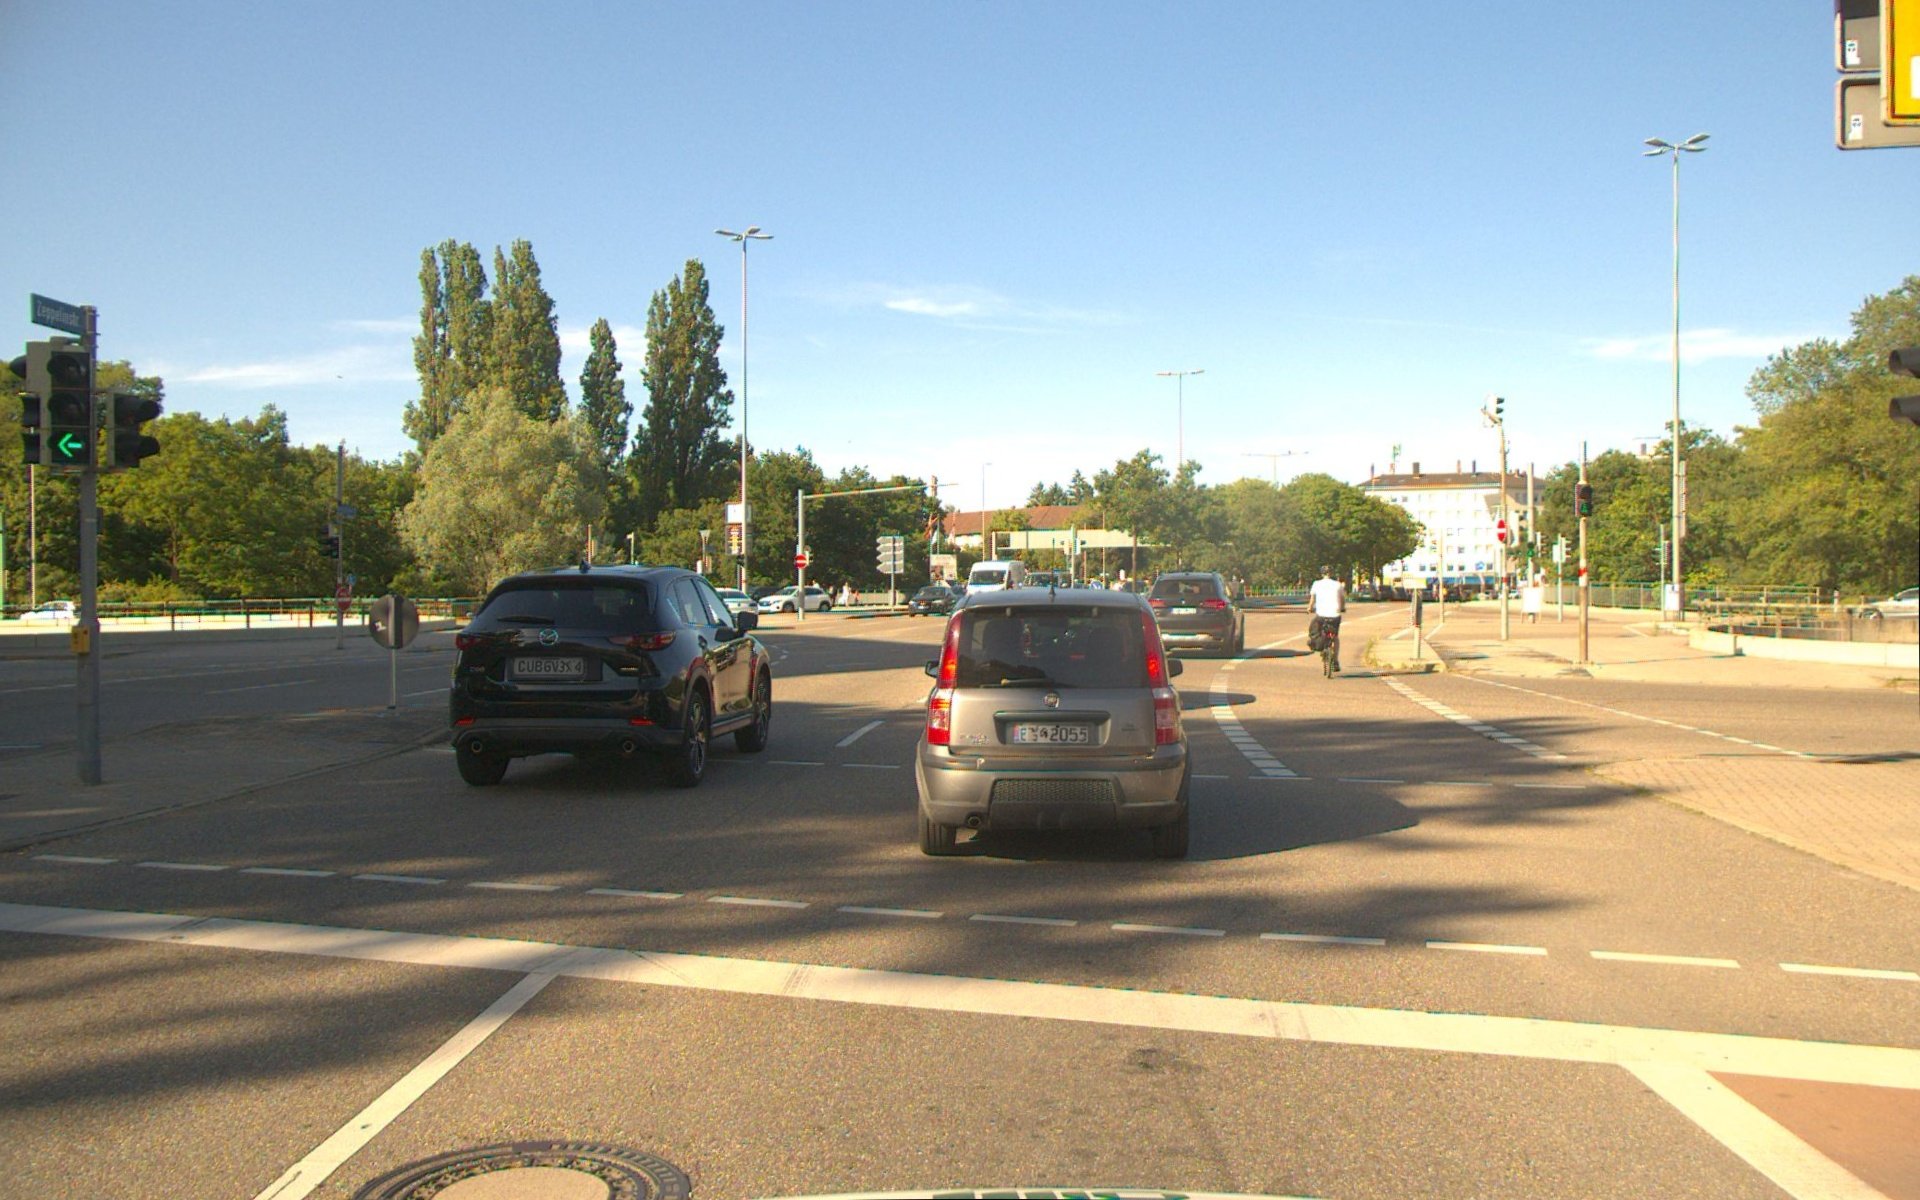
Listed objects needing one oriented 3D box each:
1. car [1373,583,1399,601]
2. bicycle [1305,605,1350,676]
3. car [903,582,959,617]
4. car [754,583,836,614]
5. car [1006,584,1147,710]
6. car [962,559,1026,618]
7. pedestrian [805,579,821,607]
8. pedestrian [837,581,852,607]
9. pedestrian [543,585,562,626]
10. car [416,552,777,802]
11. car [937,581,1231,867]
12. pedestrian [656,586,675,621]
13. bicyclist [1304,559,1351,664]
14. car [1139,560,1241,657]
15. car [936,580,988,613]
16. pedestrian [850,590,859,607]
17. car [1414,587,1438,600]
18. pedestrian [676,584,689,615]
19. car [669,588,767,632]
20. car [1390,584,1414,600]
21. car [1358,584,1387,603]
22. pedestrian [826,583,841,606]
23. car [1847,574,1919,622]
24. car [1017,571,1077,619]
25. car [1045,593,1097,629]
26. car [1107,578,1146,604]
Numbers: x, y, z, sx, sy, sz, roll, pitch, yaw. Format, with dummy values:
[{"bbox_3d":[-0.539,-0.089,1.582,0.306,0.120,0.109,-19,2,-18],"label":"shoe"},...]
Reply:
[{"bbox_3d":[39.074,-0.753,151.789,1.905,1.555,4.098,0,0,20],"label":"car"},{"bbox_3d":[6.100,0.652,27.518,0.676,1.121,1.828,1,1,11],"label":"bicycle"},{"bbox_3d":[-1.348,-0.027,78.235,1.895,1.534,4.004,-2,0,9],"label":"car"},{"bbox_3d":[-8.738,-0.093,87.764,1.752,1.562,4.305,1,2,40],"label":"car"},{"bbox_3d":[1.605,0.545,21.689,1.583,1.488,3.754,1,1,8],"label":"car"},{"bbox_3d":[1.661,-0.549,77.748,1.895,2.621,6.094,0,1,12],"label":"car"},{"bbox_3d":[-9.180,-0.427,103.470,0.773,1.693,0.629,1,-2,25],"label":"pedestrian"},{"bbox_3d":[-7.602,-0.390,108.813,0.705,1.670,0.673,1,-2,17],"label":"pedestrian"},{"bbox_3d":[-14.647,0.192,59.450,0.667,1.489,0.700,0,0,-14],"label":"pedestrian"},{"bbox_3d":[-2.774,0.524,13.643,1.835,1.739,4.198,0,0,3],"label":"car"},{"bbox_3d":[0.738,0.658,10.949,1.584,1.542,3.821,1,1,2],"label":"car"},{"bbox_3d":[-13.281,0.148,74.621,0.700,1.574,0.723,-1,-1,-24],"label":"pedestrian"},{"bbox_3d":[6.093,0.180,27.465,0.708,1.688,1.114,1,0,11],"label":"bicyclist"},{"bbox_3d":[4.996,0.133,35.500,1.904,1.872,4.156,3,1,10],"label":"car"},{"bbox_3d":[0.144,-0.215,85.351,1.772,1.568,4.621,-2,0,11],"label":"car"},{"bbox_3d":[-6.946,-0.097,108.701,0.414,1.156,0.398,1,-2,17],"label":"pedestrian"},{"bbox_3d":[57.253,-0.841,203.191,1.908,1.555,4.091,0,0,29],"label":"car"},{"bbox_3d":[-14.184,-0.029,84.534,0.549,1.574,0.572,-1,-1,-24],"label":"pedestrian"},{"bbox_3d":[-8.359,0.315,56.873,1.763,1.439,4.271,-1,1,-32],"label":"car"},{"bbox_3d":[45.094,-0.829,168.690,1.905,1.555,4.098,0,0,21],"label":"car"},{"bbox_3d":[34.268,-0.575,137.322,1.905,1.555,4.098,0,0,20],"label":"car"},{"bbox_3d":[-8.386,-0.362,109.844,0.658,1.529,0.777,0,-2,32],"label":"pedestrian"},{"bbox_3d":[32.496,-0.075,55.850,4.171,1.579,1.849,0,1,43],"label":"car"},{"bbox_3d":[3.931,-0.242,74.174,1.895,2.043,4.936,0,1,12],"label":"car"},{"bbox_3d":[5.391,0.522,79.956,1.895,1.650,4.510,0,1,12],"label":"car"},{"bbox_3d":[10.748,-0.591,106.525,1.895,1.650,4.509,0,1,13],"label":"car"}]
